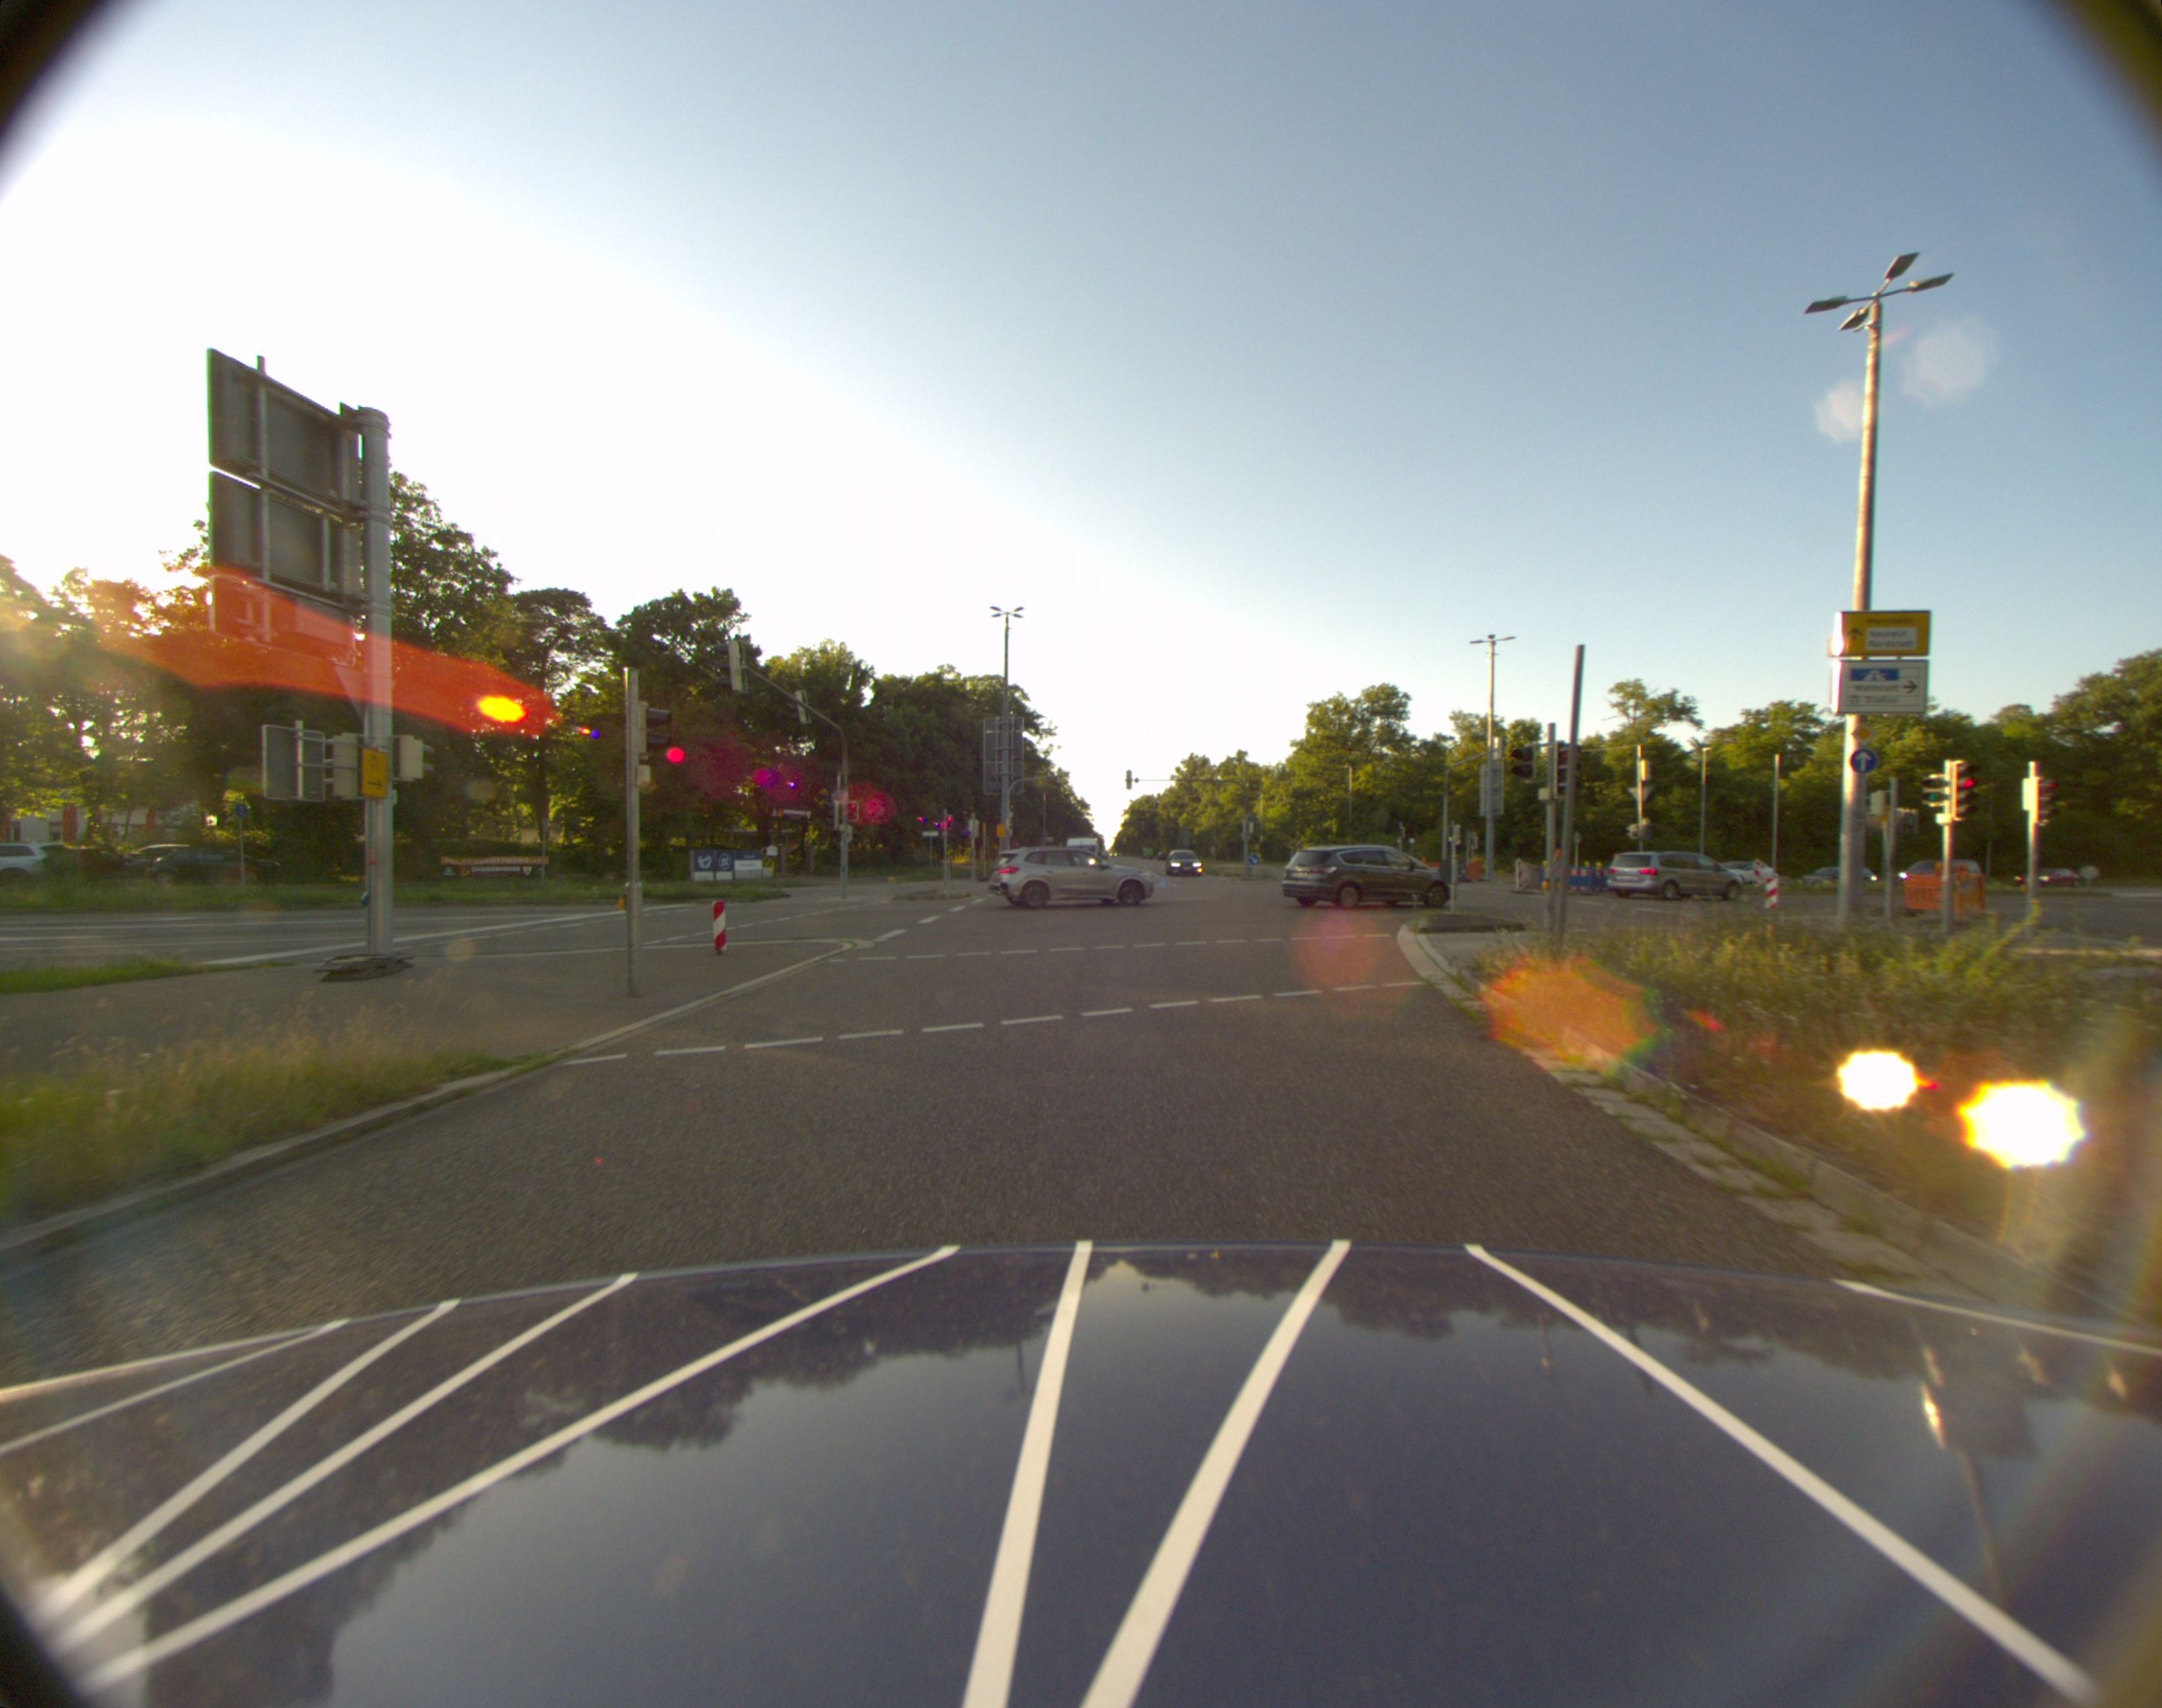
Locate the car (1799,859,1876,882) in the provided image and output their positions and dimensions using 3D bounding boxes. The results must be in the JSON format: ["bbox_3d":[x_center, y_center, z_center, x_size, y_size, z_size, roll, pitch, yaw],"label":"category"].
[{"bbox_3d":[51.802,1.102,52.023,4.403,1.447,1.719,0,1,-14],"label":"car"}]

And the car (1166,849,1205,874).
[{"bbox_3d":[6.492,0.427,47.557,2.001,1.511,4.000,0,1,2],"label":"car"}]

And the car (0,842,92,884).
[{"bbox_3d":[-42.632,0.340,29.635,4.554,1.649,1.861,0,1,-25],"label":"car"}]

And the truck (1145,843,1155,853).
[{"bbox_3d":[15.008,-1.239,165.598,1.998,2.109,3.999,0,1,0],"label":"truck"}]

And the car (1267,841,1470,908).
[{"bbox_3d":[7.623,0.508,20.264,4.825,1.651,2.009,1,1,-17],"label":"car"}]

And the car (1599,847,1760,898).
[{"bbox_3d":[21.373,0.619,27.192,4.660,1.714,1.870,0,1,-10],"label":"car"}]

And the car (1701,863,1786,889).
[{"bbox_3d":[39.221,1.282,45.019,4.235,1.447,1.719,0,1,-15],"label":"car"}]

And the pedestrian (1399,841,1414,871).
[{"bbox_3d":[19.514,0.121,45.558,0.574,1.790,0.751,1,2,45],"label":"pedestrian"}]

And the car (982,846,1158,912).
[{"bbox_3d":[-0.315,0.612,20.832,4.401,1.615,1.995,0,3,-21],"label":"car"}]

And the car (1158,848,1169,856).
[{"bbox_3d":[15.779,-0.405,144.695,1.663,1.320,4.045,0,2,0],"label":"car"}]

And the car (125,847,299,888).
[{"bbox_3d":[-36.655,0.543,32.255,4.556,1.648,1.860,1,0,-35],"label":"car"}]

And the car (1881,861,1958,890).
[{"bbox_3d":[60.039,1.505,54.417,4.235,2.013,1.881,0,1,-14],"label":"car"}]

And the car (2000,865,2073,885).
[{"bbox_3d":[72.229,1.564,57.431,4.235,1.413,1.881,0,1,-15],"label":"car"}]

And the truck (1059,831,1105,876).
[{"bbox_3d":[0.038,0.013,48.143,2.604,2.542,6.023,-3,0,0],"label":"truck"}]

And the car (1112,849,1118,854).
[{"bbox_3d":[11.199,-0.795,252.388,1.846,1.587,4.207,0,2,1],"label":"car"}]

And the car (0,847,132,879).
[{"bbox_3d":[-47.419,0.376,34.790,4.554,1.399,1.861,0,1,-25],"label":"car"}]
